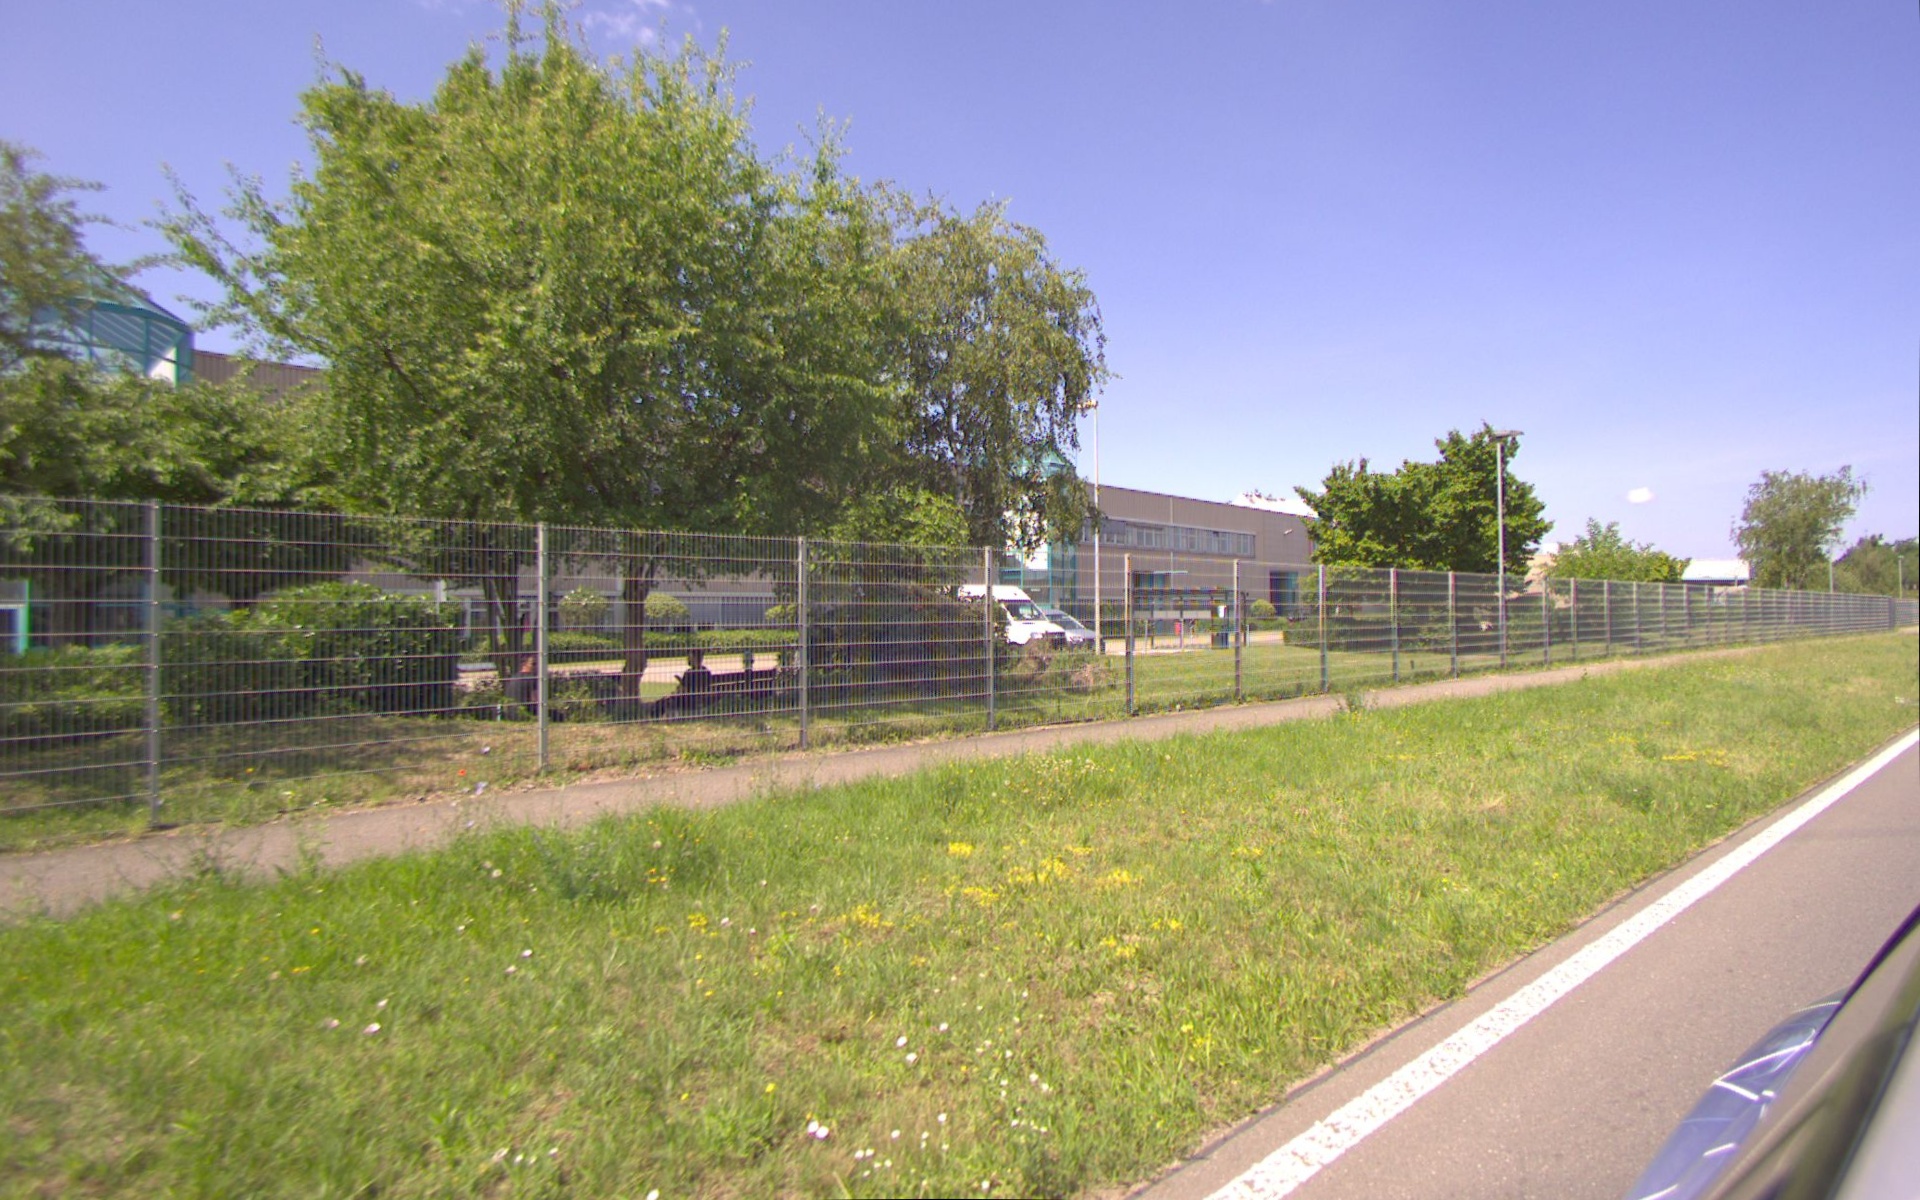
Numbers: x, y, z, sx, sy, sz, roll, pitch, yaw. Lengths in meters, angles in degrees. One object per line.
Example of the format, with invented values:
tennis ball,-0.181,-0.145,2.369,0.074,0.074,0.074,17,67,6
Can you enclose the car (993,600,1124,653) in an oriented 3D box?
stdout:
car,3.237,0.881,33.807,3.984,1.661,1.969,-2,-2,43

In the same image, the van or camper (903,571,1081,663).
van or camper,0.912,0.618,32.659,5.765,2.551,1.969,-5,-4,43

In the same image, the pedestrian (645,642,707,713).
pedestrian,-3.830,1.033,13.658,0.662,0.905,0.505,-2,-2,34

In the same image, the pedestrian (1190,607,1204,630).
pedestrian,14.910,1.153,63.591,0.514,1.409,0.718,-2,-2,44

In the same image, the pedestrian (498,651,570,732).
pedestrian,-5.119,1.086,12.164,0.655,0.905,0.510,0,-2,-43
